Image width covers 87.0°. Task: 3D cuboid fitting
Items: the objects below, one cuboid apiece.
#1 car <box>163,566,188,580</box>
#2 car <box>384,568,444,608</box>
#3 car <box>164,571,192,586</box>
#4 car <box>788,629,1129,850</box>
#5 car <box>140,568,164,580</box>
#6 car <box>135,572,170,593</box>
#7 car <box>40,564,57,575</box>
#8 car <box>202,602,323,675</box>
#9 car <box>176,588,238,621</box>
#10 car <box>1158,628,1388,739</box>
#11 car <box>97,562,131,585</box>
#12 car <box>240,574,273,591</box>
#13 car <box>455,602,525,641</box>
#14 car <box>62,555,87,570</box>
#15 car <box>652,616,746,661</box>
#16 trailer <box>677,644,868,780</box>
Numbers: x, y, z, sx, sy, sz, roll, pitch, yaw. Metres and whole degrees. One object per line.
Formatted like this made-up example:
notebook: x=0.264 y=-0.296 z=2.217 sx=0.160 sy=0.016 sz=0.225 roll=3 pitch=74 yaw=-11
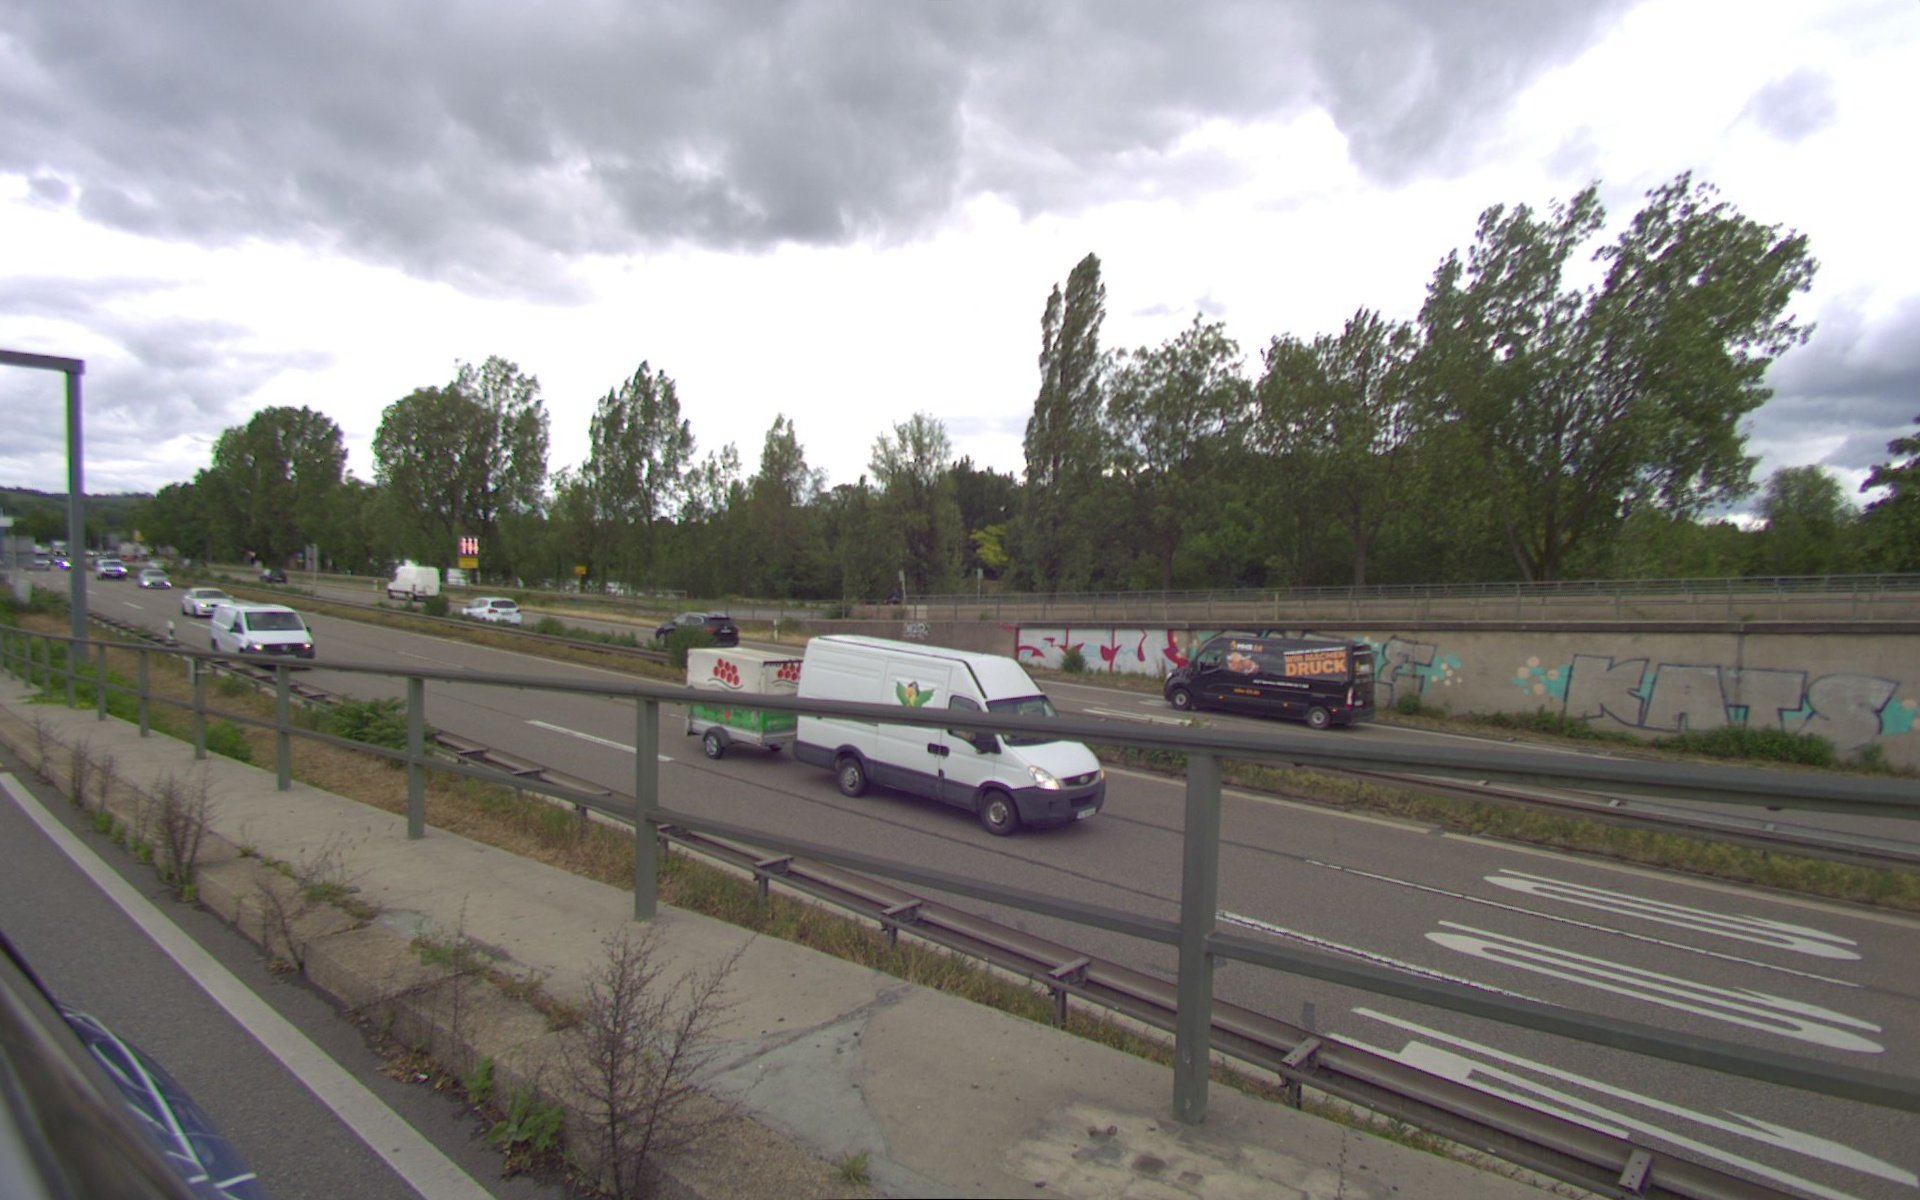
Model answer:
car: x=-100.244 y=-3.453 z=129.340 sx=3.930 sy=1.662 sz=1.879 roll=2 pitch=2 yaw=41
car: x=-41.537 y=-0.928 z=76.893 sx=5.359 sy=2.800 sz=2.187 roll=4 pitch=2 yaw=41
car: x=-90.819 y=-2.470 z=117.478 sx=3.930 sy=1.662 sz=1.879 roll=2 pitch=2 yaw=41
car: x=-0.239 y=2.077 z=17.182 sx=5.931 sy=2.704 sz=1.973 roll=4 pitch=3 yaw=41
car: x=-112.732 y=-3.656 z=141.184 sx=3.930 sy=1.662 sz=1.879 roll=2 pitch=2 yaw=41
car: x=-64.158 y=-1.412 z=80.402 sx=3.681 sy=1.564 sz=1.540 roll=3 pitch=3 yaw=41
car: x=-143.773 y=-4.765 z=159.676 sx=1.832 sy=1.619 sz=4.170 roll=2 pitch=1 yaw=-43
car: x=-22.460 y=1.147 z=32.498 sx=5.197 sy=1.890 sz=1.973 roll=4 pitch=3 yaw=41
car: x=-38.624 y=0.212 z=51.872 sx=4.164 sy=1.462 sz=1.724 roll=3 pitch=2 yaw=41
car: x=9.191 y=2.338 z=30.158 sx=6.111 sy=2.566 sz=2.221 roll=3 pitch=2 yaw=40
car: x=-79.813 y=-2.518 z=95.444 sx=4.898 sy=1.949 sz=1.928 roll=4 pitch=3 yaw=44
car: x=-71.486 y=-1.789 z=102.761 sx=3.930 sy=1.662 sz=1.879 roll=0 pitch=0 yaw=41
car: x=-23.604 y=1.040 z=50.764 sx=3.930 sy=1.662 sz=1.739 roll=4 pitch=3 yaw=41
car: x=-111.945 y=-4.750 z=127.966 sx=4.277 sy=1.726 sz=1.821 roll=4 pitch=3 yaw=41
car: x=-11.499 y=1.647 z=44.473 sx=4.332 sy=1.662 sz=1.879 roll=4 pitch=1 yaw=41
trailer: x=-3.851 y=2.132 z=20.440 sx=3.935 sy=2.145 sz=1.711 roll=3 pitch=3 yaw=41
